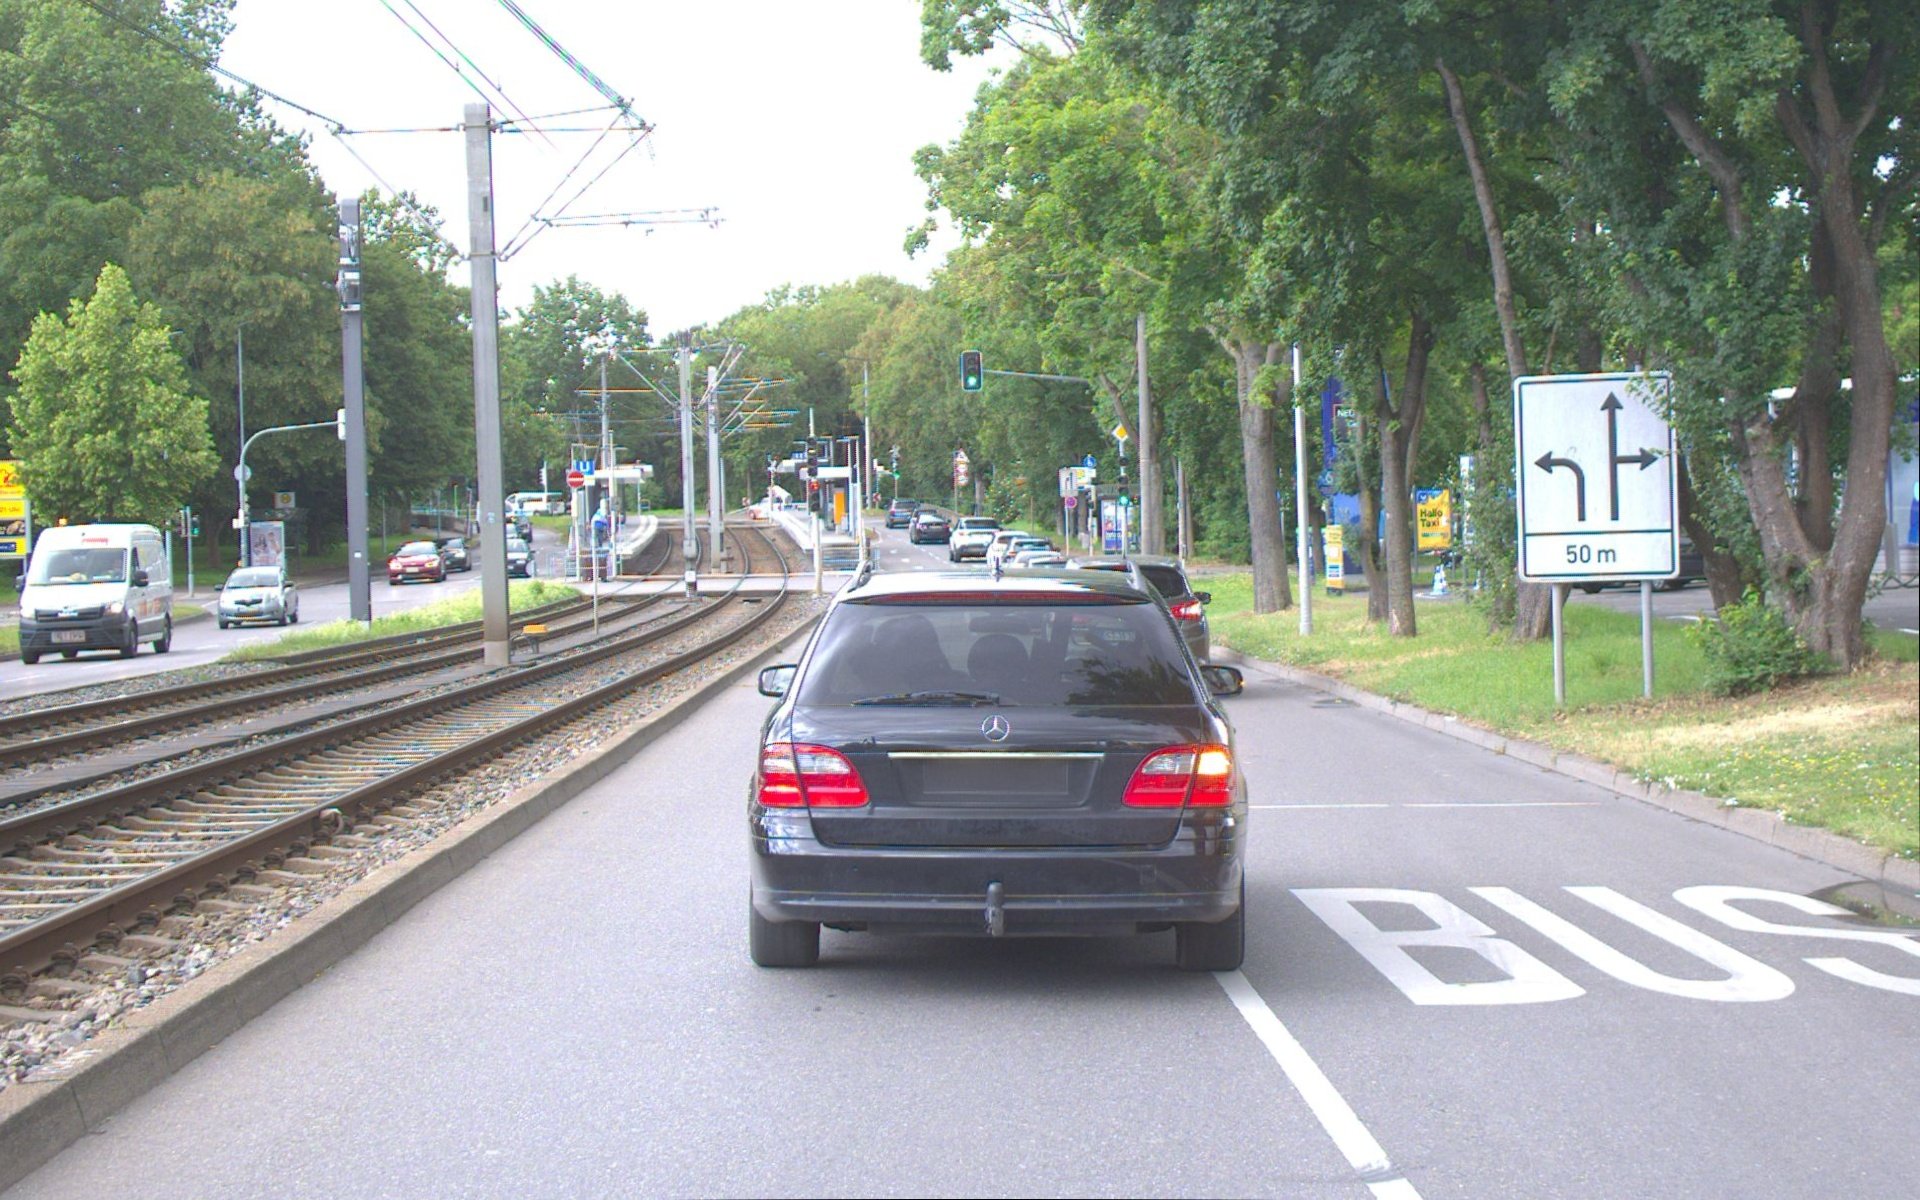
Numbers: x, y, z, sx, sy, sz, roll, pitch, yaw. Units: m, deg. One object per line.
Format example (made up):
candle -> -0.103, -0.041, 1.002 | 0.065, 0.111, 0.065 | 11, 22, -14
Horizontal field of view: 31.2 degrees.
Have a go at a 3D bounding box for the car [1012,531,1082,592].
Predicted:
car -> 2.671, -1.185, 105.885 | 1.993, 1.831, 4.000 | 0, 1, -1

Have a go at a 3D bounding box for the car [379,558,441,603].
car -> -20.450, -0.751, 127.939 | 1.765, 1.641, 3.771 | 0, 1, -1

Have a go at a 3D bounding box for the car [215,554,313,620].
car -> -17.756, -0.344, 87.804 | 1.765, 1.641, 3.771 | 0, 1, -1

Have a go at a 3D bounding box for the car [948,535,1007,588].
car -> 0.592, -1.355, 121.692 | 1.993, 1.831, 4.000 | 0, 1, -1

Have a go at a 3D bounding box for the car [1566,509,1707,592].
car -> 14.638, -1.091, 74.201 | 2.008, 1.677, 4.574 | -1, 1, 24

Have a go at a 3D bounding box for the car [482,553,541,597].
car -> -16.985, -0.951, 130.407 | 1.765, 1.641, 3.771 | 0, 1, -1

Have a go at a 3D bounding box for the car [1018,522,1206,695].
car -> 1.583, 0.074, 36.898 | 1.780, 1.744, 3.718 | 1, 0, -1

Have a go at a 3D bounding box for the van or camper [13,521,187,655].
van or camper -> -16.052, -0.269, 64.473 | 1.993, 2.346, 5.766 | -2, 1, -3

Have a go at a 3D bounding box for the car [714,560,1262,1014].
car -> 0.070, 0.594, 13.286 | 1.808, 1.469, 3.881 | 0, 1, -1

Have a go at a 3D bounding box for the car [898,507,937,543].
car -> -2.238, -3.898, 179.250 | 1.993, 1.831, 4.000 | 0, 1, -1

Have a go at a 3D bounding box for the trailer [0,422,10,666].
trailer -> -15.321, -0.706, 45.203 | 2.704, 3.648, 13.301 | -2, 1, -4

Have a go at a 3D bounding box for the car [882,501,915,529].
car -> -3.503, -4.801, 195.301 | 1.666, 1.527, 3.771 | 0, 1, -4

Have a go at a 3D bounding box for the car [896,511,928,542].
car -> -2.463, -3.767, 177.010 | 1.649, 1.549, 3.648 | 0, 1, -1
